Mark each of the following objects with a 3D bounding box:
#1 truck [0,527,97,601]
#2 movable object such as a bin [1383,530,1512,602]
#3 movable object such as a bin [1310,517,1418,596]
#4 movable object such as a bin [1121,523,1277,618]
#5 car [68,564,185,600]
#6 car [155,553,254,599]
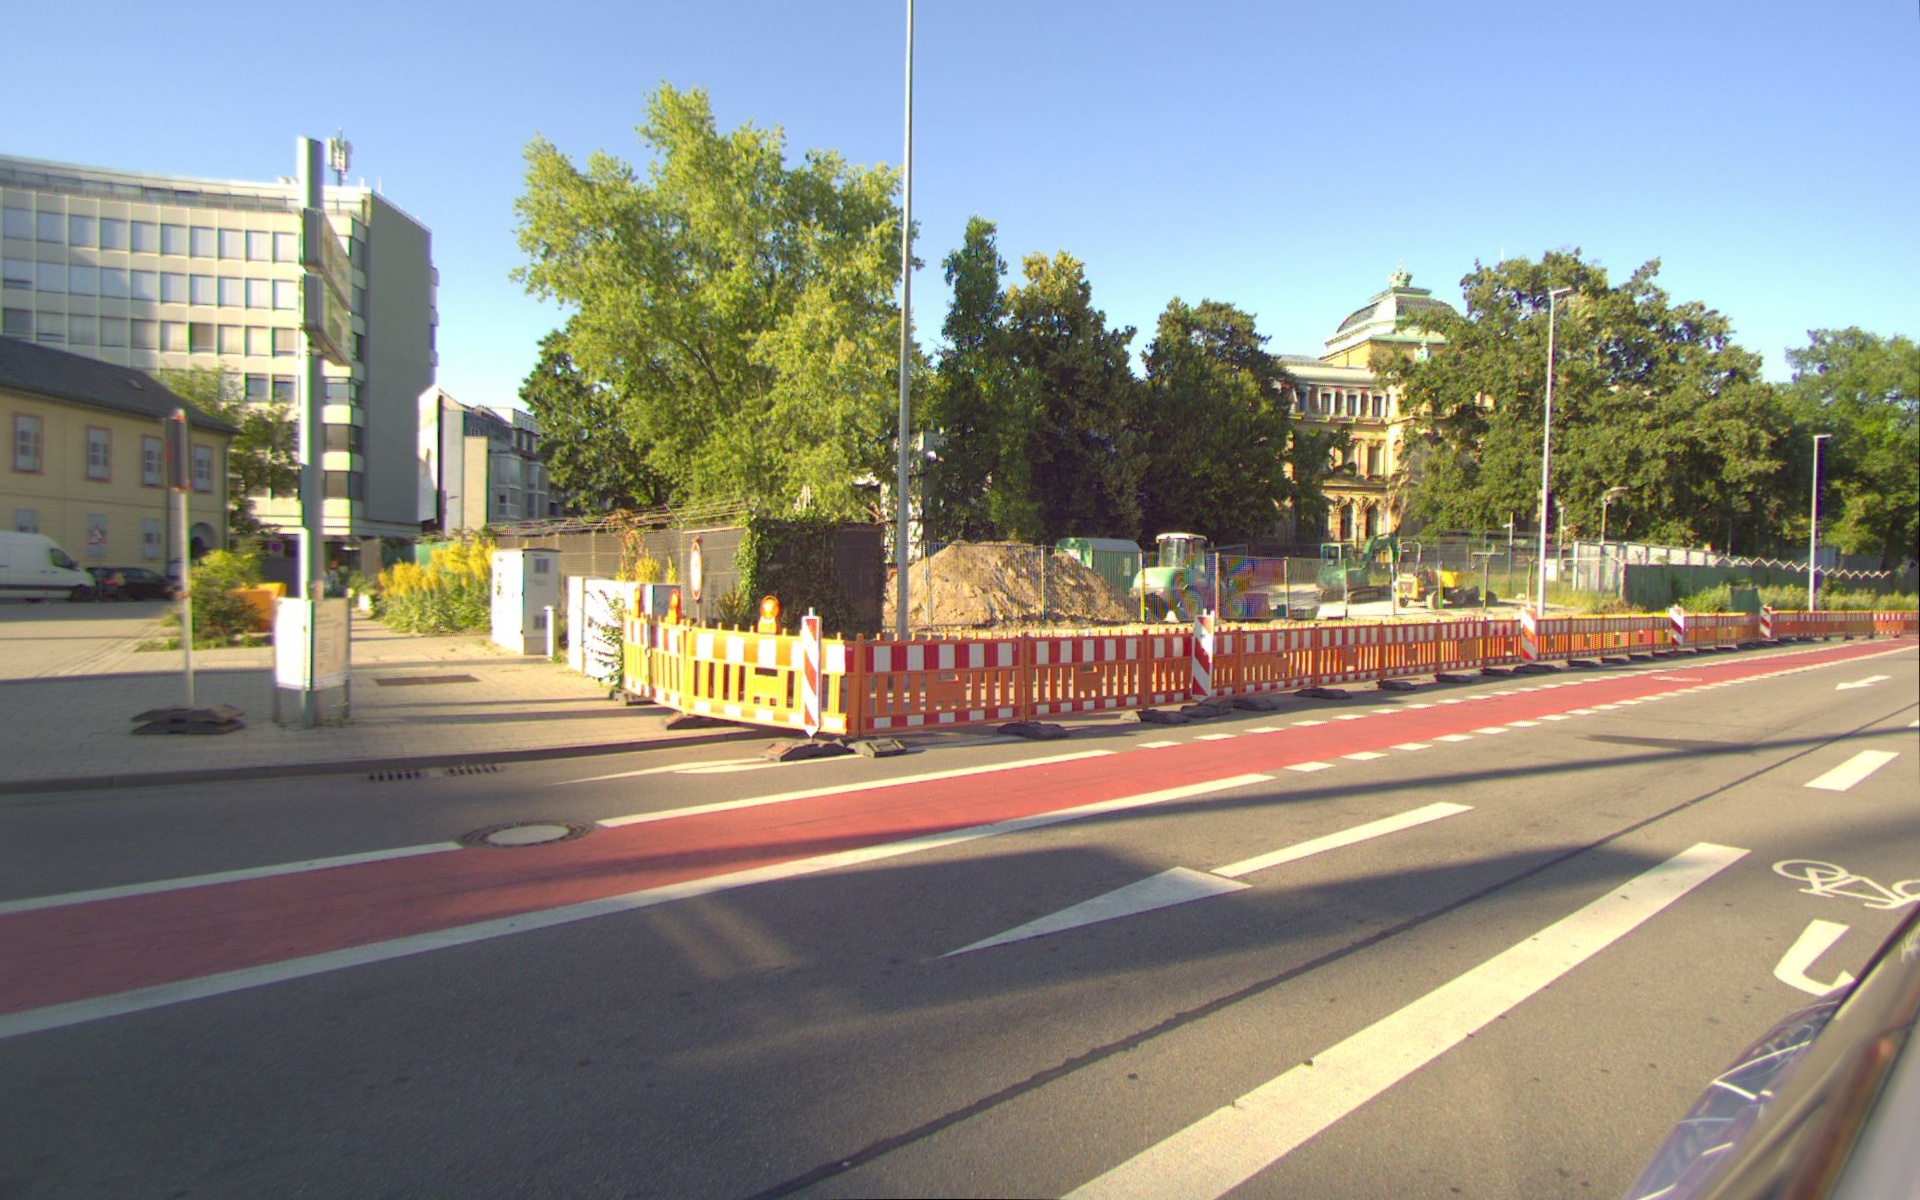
[{"bbox_3d":[-34.312,-1.253,36.059,2.258,2.581,5.638,0,0,1],"label":"truck"},{"bbox_3d":[20.429,-1.368,42.360,5.750,2.852,2.002,-1,0,-30],"label":"movable object such as a bin"},{"bbox_3d":[18.161,-1.873,45.379,5.274,3.371,1.999,-1,0,-36],"label":"movable object such as a bin"},{"bbox_3d":[7.441,-0.875,31.299,4.920,2.717,1.999,-1,0,-36],"label":"movable object such as a bin"},{"bbox_3d":[-34.338,-0.731,41.818,1.682,1.382,3.761,0,0,1],"label":"car"},{"bbox_3d":[-34.393,-1.085,46.172,1.682,2.005,3.761,0,0,1],"label":"car"}]
